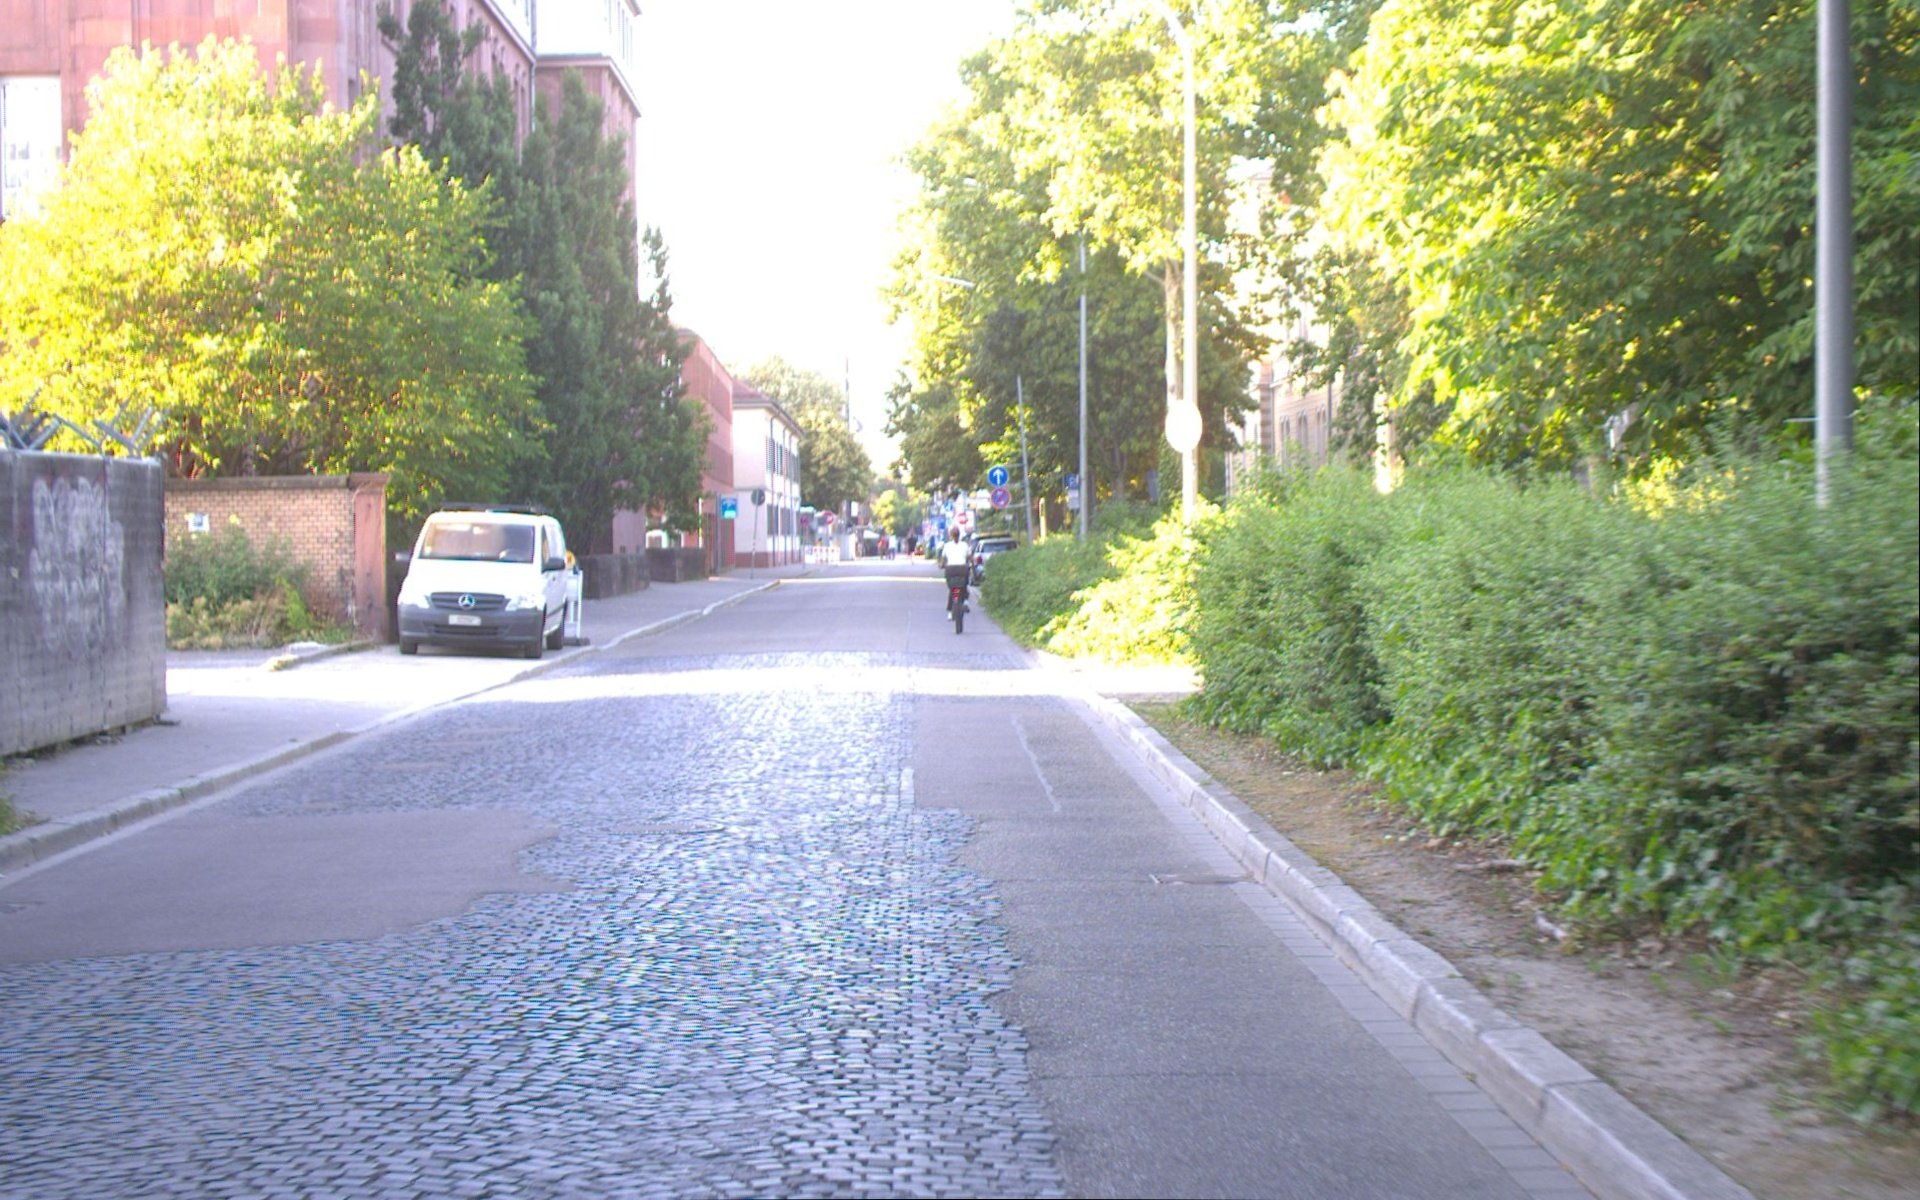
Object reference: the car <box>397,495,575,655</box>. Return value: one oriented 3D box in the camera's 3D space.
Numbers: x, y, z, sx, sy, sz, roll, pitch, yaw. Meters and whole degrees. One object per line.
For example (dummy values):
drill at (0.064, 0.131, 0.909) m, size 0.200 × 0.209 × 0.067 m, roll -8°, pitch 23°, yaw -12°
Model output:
car at (-6.330, -0.311, 46.390) m, size 1.882 × 2.007 × 5.226 m, roll 1°, pitch 0°, yaw -3°

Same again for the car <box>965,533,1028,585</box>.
car at (1.108, -1.257, 105.925) m, size 1.685 × 1.442 × 3.672 m, roll -4°, pitch 0°, yaw -3°

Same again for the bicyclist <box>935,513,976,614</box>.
bicyclist at (-0.080, -0.609, 57.450) m, size 0.639 × 1.661 × 0.843 m, roll 1°, pitch 1°, yaw -3°

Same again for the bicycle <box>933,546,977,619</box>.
bicycle at (-0.084, -0.297, 57.491) m, size 0.638 × 1.189 × 1.876 m, roll 1°, pitch 1°, yaw -3°
